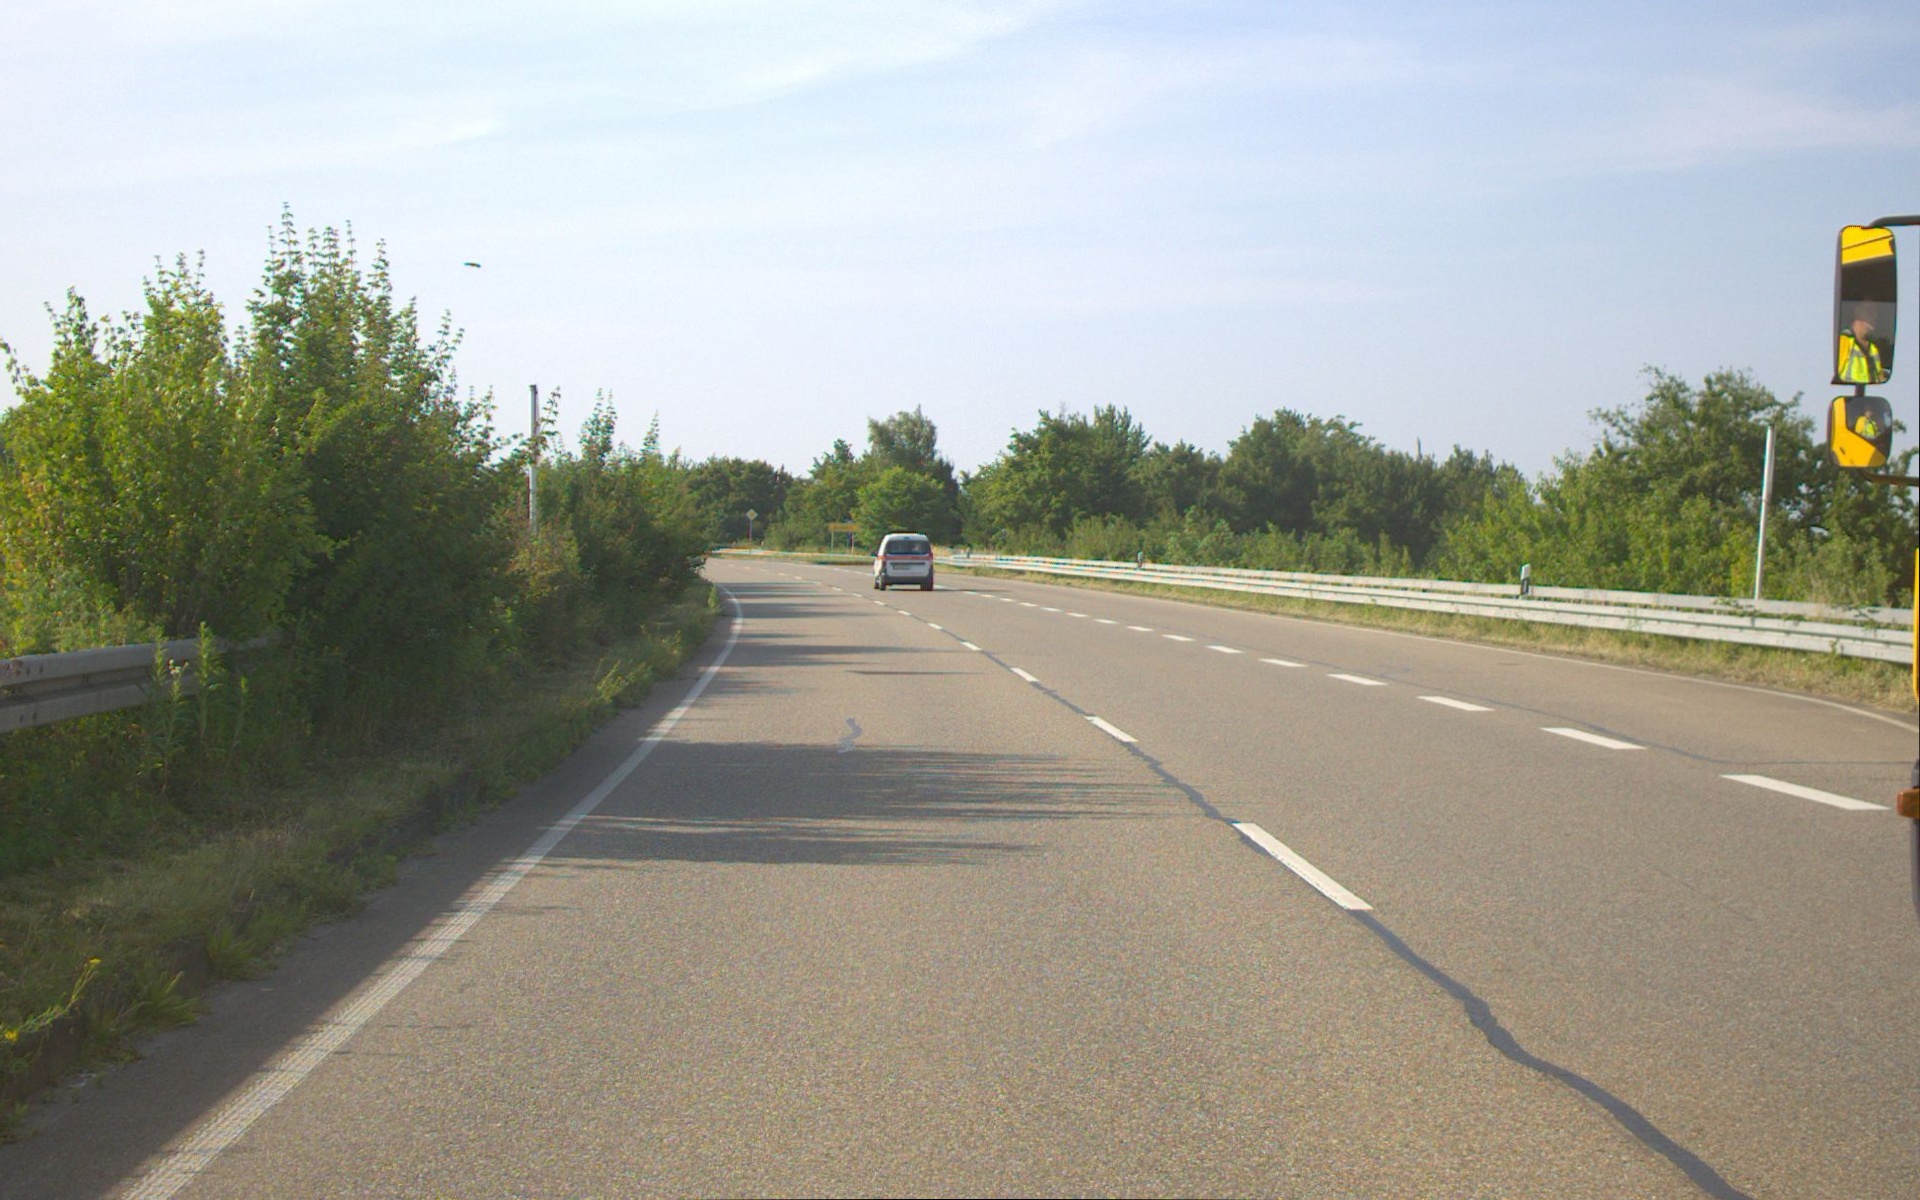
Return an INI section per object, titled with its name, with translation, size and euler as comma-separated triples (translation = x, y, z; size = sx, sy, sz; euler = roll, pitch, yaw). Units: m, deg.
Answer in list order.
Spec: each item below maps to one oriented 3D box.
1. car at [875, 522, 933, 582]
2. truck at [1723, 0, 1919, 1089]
[car]
translation = -1.805, -1.507, 109.196
size = 1.765, 1.875, 4.000
euler = 0, 0, -2
[truck]
translation = 4.021, -0.263, 6.223
size = 2.778, 3.305, 10.490
euler = 0, 1, -1
